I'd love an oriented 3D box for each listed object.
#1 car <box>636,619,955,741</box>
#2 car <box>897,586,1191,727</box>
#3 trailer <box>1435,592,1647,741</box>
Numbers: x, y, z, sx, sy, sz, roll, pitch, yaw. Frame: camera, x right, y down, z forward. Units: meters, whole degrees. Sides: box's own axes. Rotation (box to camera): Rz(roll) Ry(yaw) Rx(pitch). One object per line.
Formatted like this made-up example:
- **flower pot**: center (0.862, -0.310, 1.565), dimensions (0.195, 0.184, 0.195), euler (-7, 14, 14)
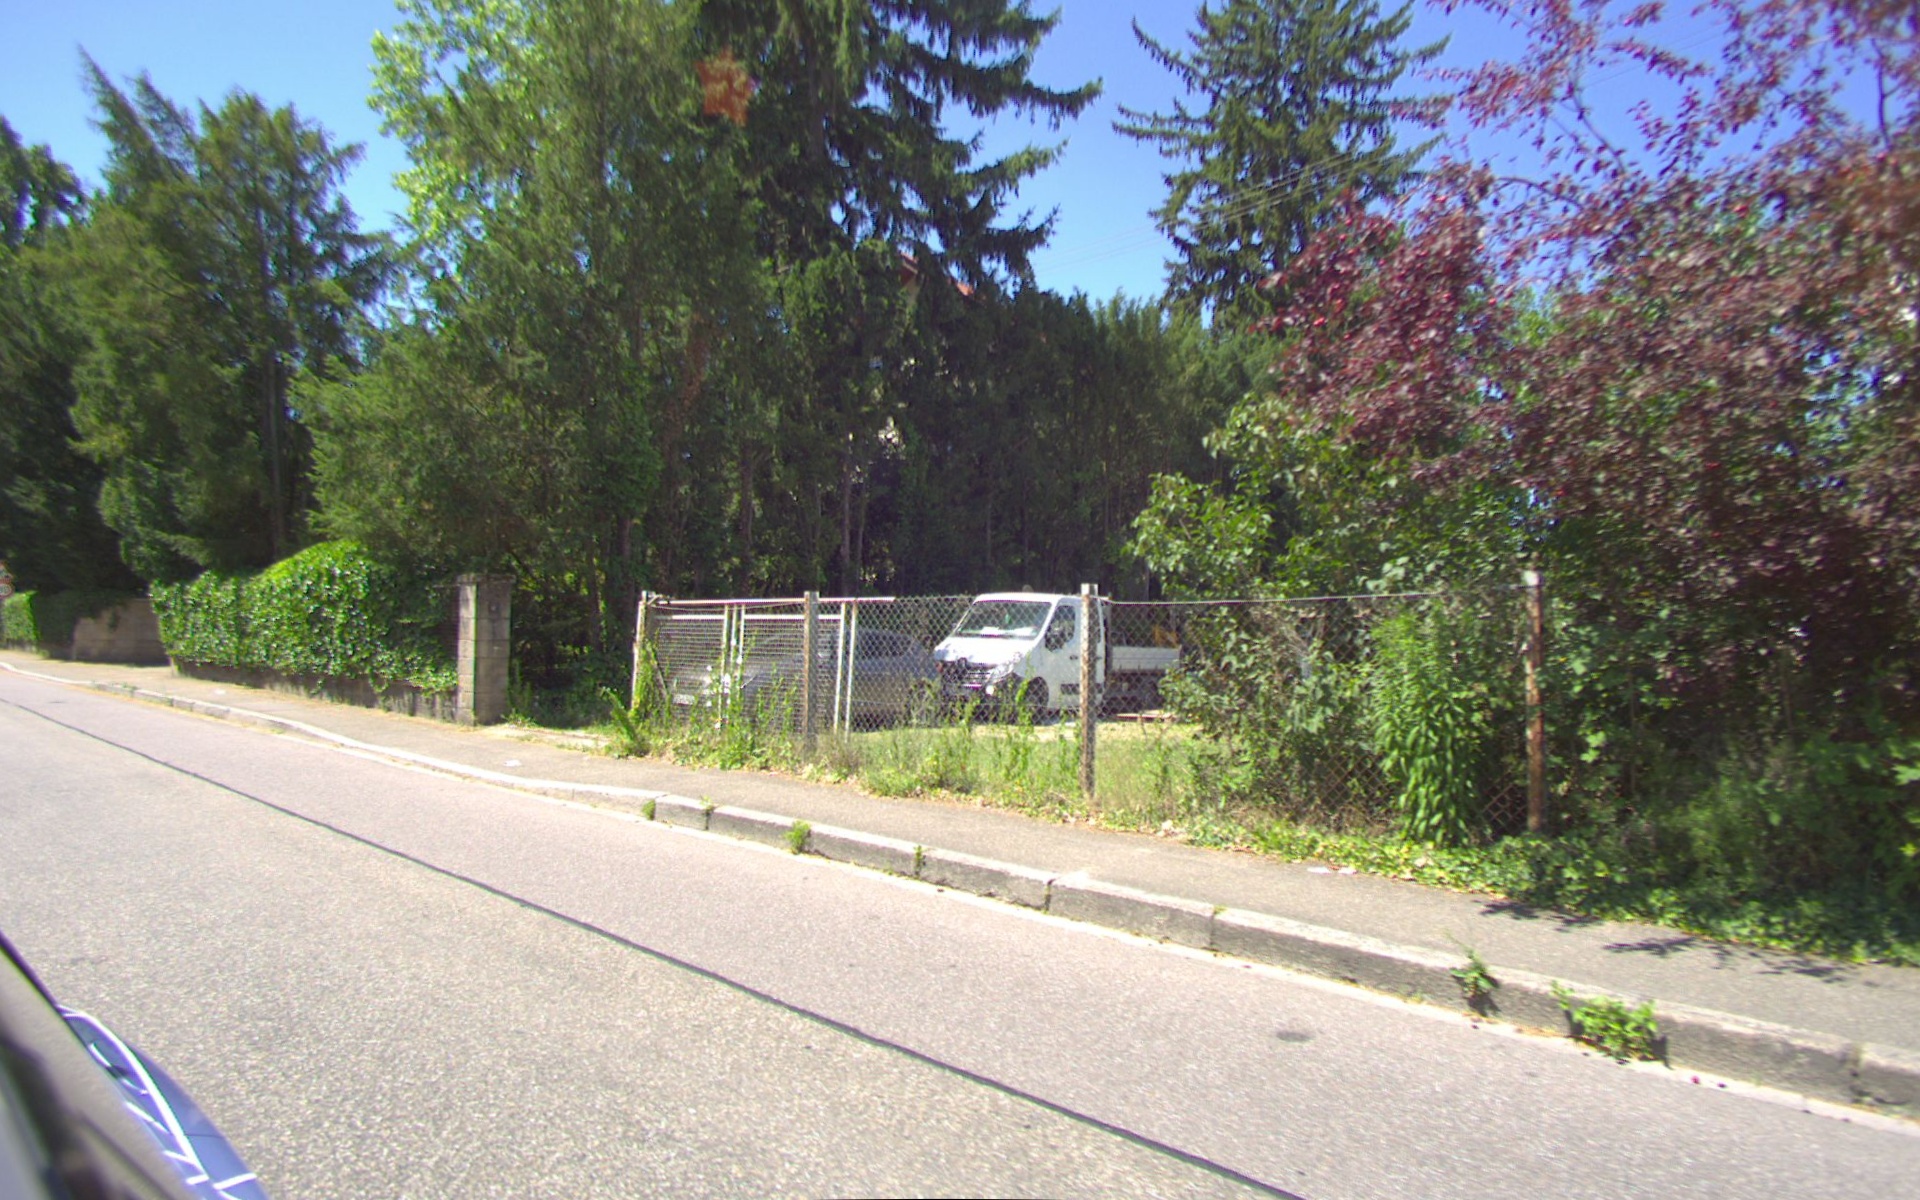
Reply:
- **car**: center (-2.161, 1.080, 14.020), dimensions (1.969, 1.435, 3.942), euler (-2, -5, 44)
- **car**: center (1.878, 1.099, 19.093), dimensions (2.398, 2.188, 6.599), euler (-1, -4, 36)
- **trailer**: center (9.724, 1.067, 16.857), dimensions (3.824, 2.188, 1.826), euler (2, -3, -40)
